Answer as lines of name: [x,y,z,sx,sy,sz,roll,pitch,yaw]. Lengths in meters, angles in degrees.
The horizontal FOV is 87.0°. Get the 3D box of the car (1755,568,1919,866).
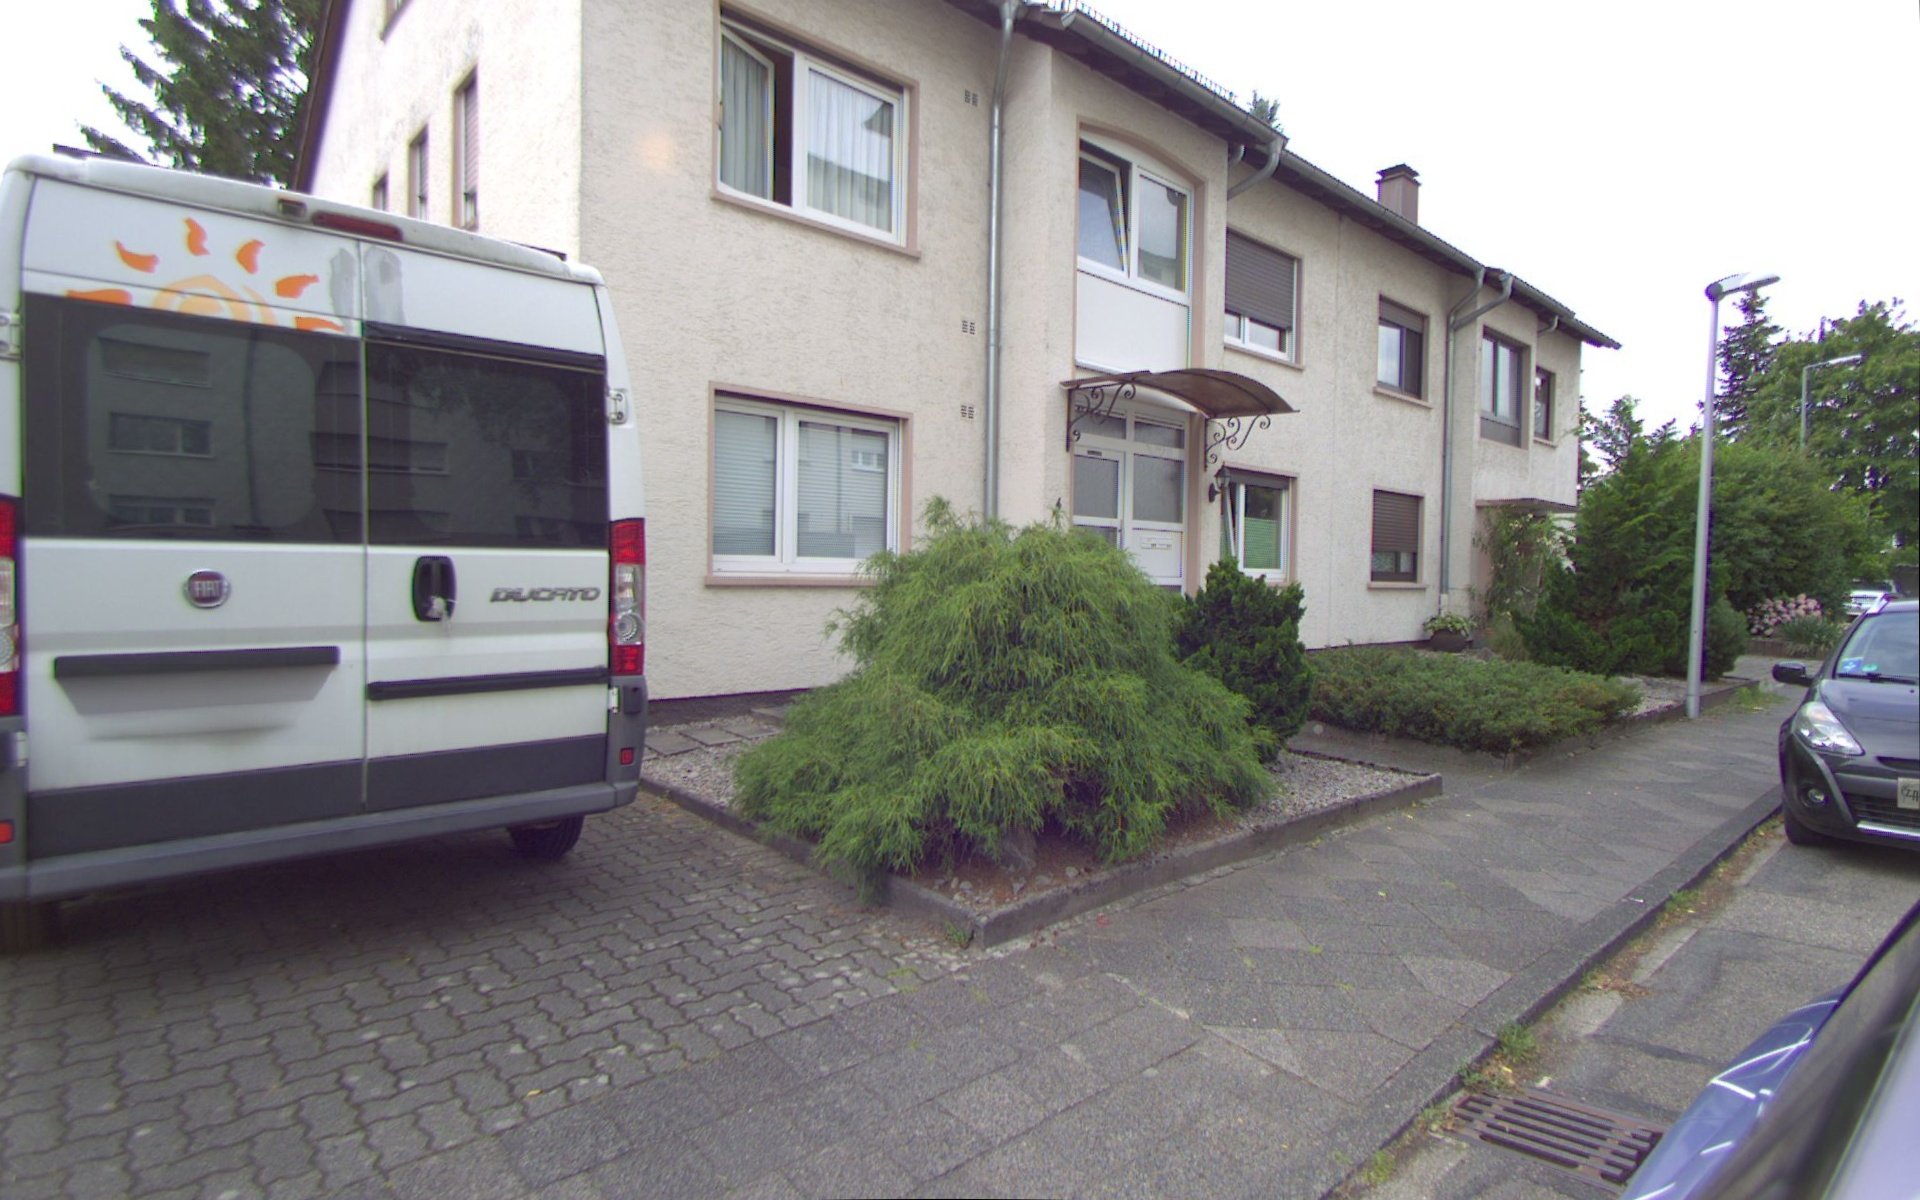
car: [6.422,0.570,6.279,4.121,1.476,1.831,-1,1,-44]

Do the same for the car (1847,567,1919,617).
car: [30.417,-0.315,33.188,3.936,1.484,1.702,-3,4,-45]

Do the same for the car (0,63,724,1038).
car: [-3.461,-0.260,5.256,2.199,2.573,5.098,0,3,-41]

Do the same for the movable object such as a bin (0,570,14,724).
movable object such as a bin: [-7.054,0.329,7.146,0.537,1.069,0.456,0,4,-43]
